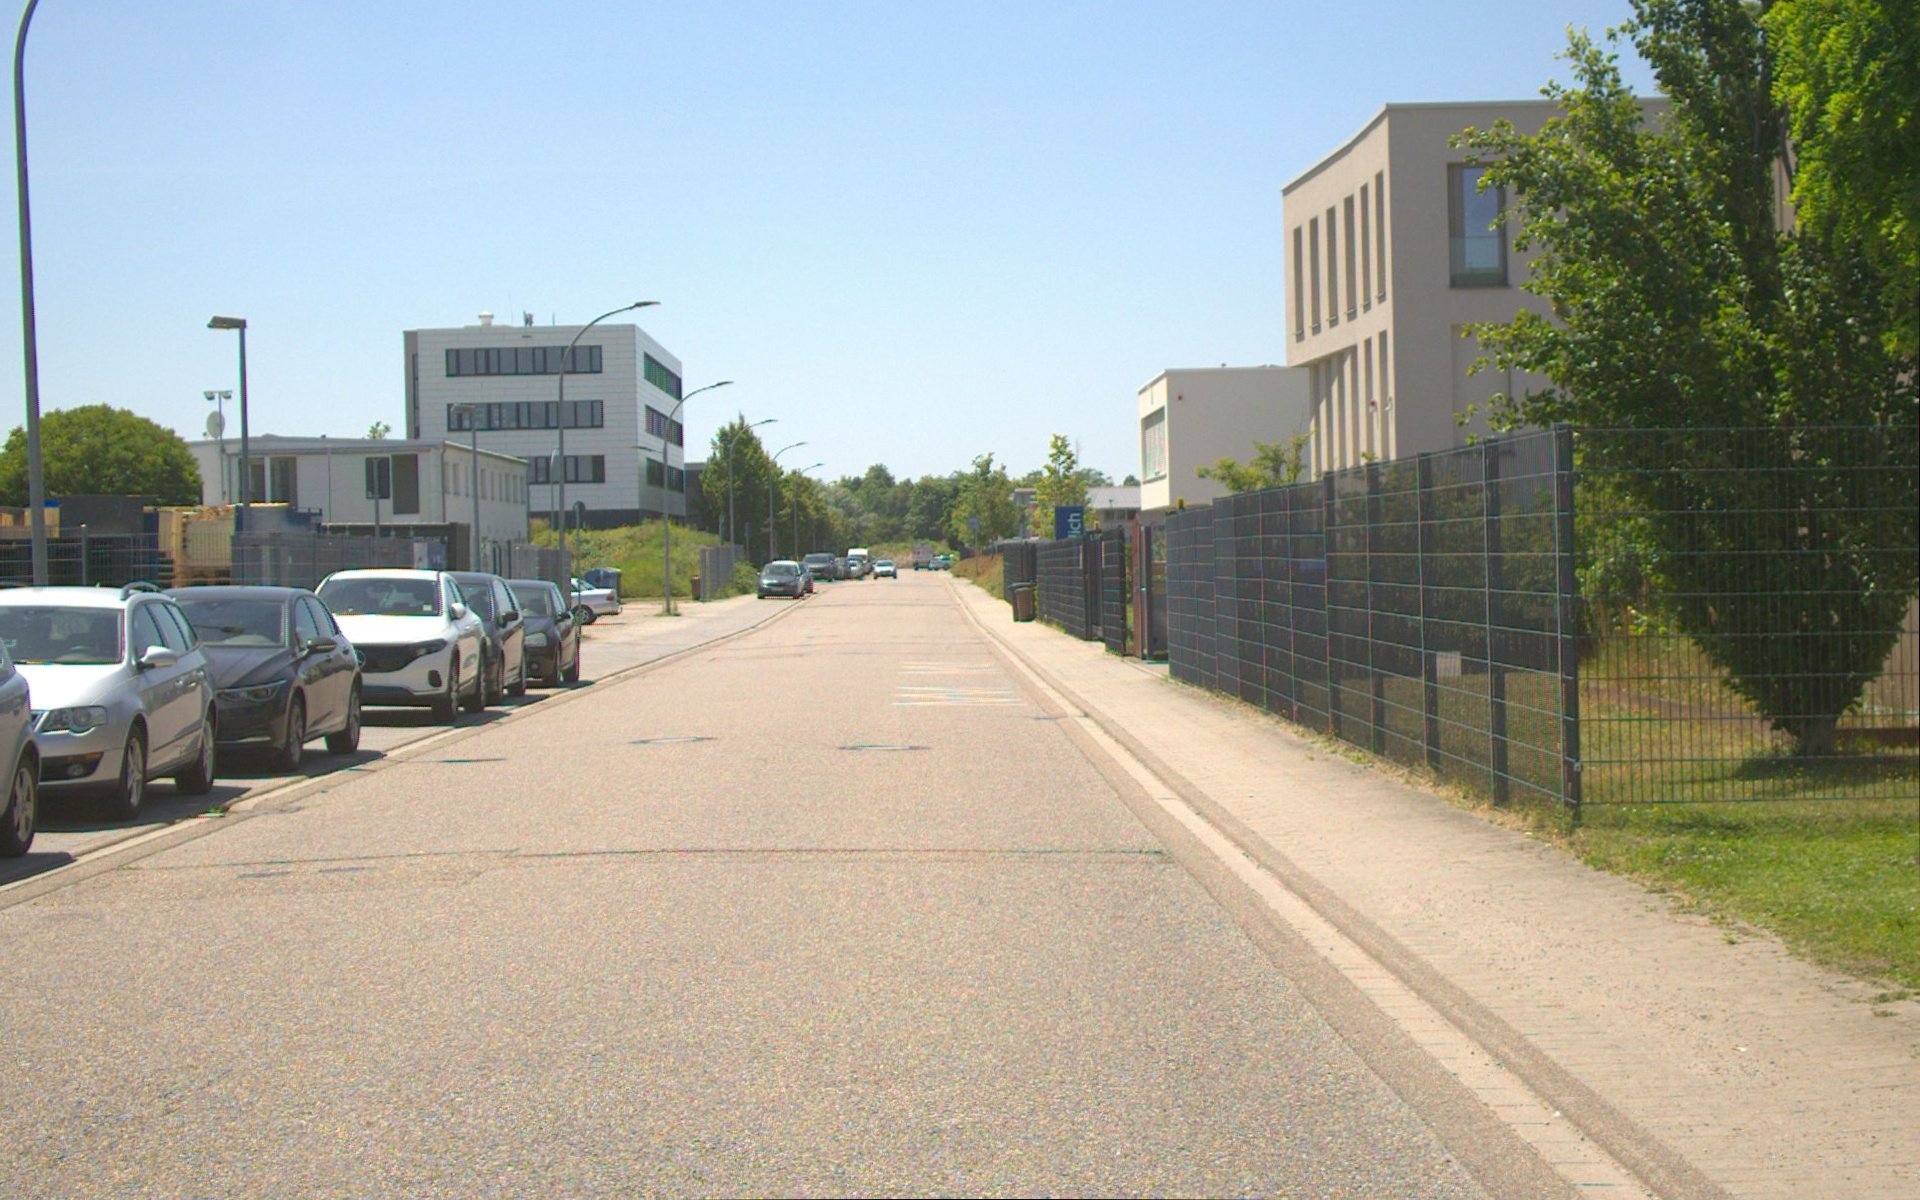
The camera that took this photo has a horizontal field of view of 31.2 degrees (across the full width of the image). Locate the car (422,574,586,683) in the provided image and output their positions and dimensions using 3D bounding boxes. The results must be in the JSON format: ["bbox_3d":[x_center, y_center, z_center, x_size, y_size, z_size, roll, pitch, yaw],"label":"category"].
[{"bbox_3d":[-6.365,0.369,48.366,1.769,1.456,4.333,0,0,-1],"label":"car"}]

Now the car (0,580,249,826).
[{"bbox_3d":[-6.167,0.616,23.390,1.775,1.475,4.816,0,1,-2],"label":"car"}]

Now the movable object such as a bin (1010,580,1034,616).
[{"bbox_3d":[1.725,-0.049,95.263,0.552,0.925,0.522,-5,2,4],"label":"movable object such as a bin"}]

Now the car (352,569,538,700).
[{"bbox_3d":[-6.343,0.388,42.750,1.769,1.551,4.502,0,0,-2],"label":"car"}]

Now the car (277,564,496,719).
[{"bbox_3d":[-6.142,0.404,37.248,1.769,1.586,4.360,0,0,-2],"label":"car"}]

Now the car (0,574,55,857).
[{"bbox_3d":[-5.993,0.630,17.834,1.693,1.520,3.735,0,1,-2],"label":"car"}]

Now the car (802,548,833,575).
[{"bbox_3d":[-8.224,-2.219,198.128,1.644,1.484,3.207,-1,1,0],"label":"car"}]

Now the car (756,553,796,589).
[{"bbox_3d":[-7.663,-1.221,143.151,1.466,1.484,3.207,-1,1,0],"label":"car"}]

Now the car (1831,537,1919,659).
[{"bbox_3d":[12.126,-0.061,42.405,1.655,1.439,4.000,-2,1,-1],"label":"car"}]

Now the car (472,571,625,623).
[{"bbox_3d":[-12.183,-0.094,101.907,4.277,1.360,1.898,-2,1,0],"label":"car"}]

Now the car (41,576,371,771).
[{"bbox_3d":[-6.144,0.547,28.493,1.857,1.475,4.229,0,1,-1],"label":"car"}]
